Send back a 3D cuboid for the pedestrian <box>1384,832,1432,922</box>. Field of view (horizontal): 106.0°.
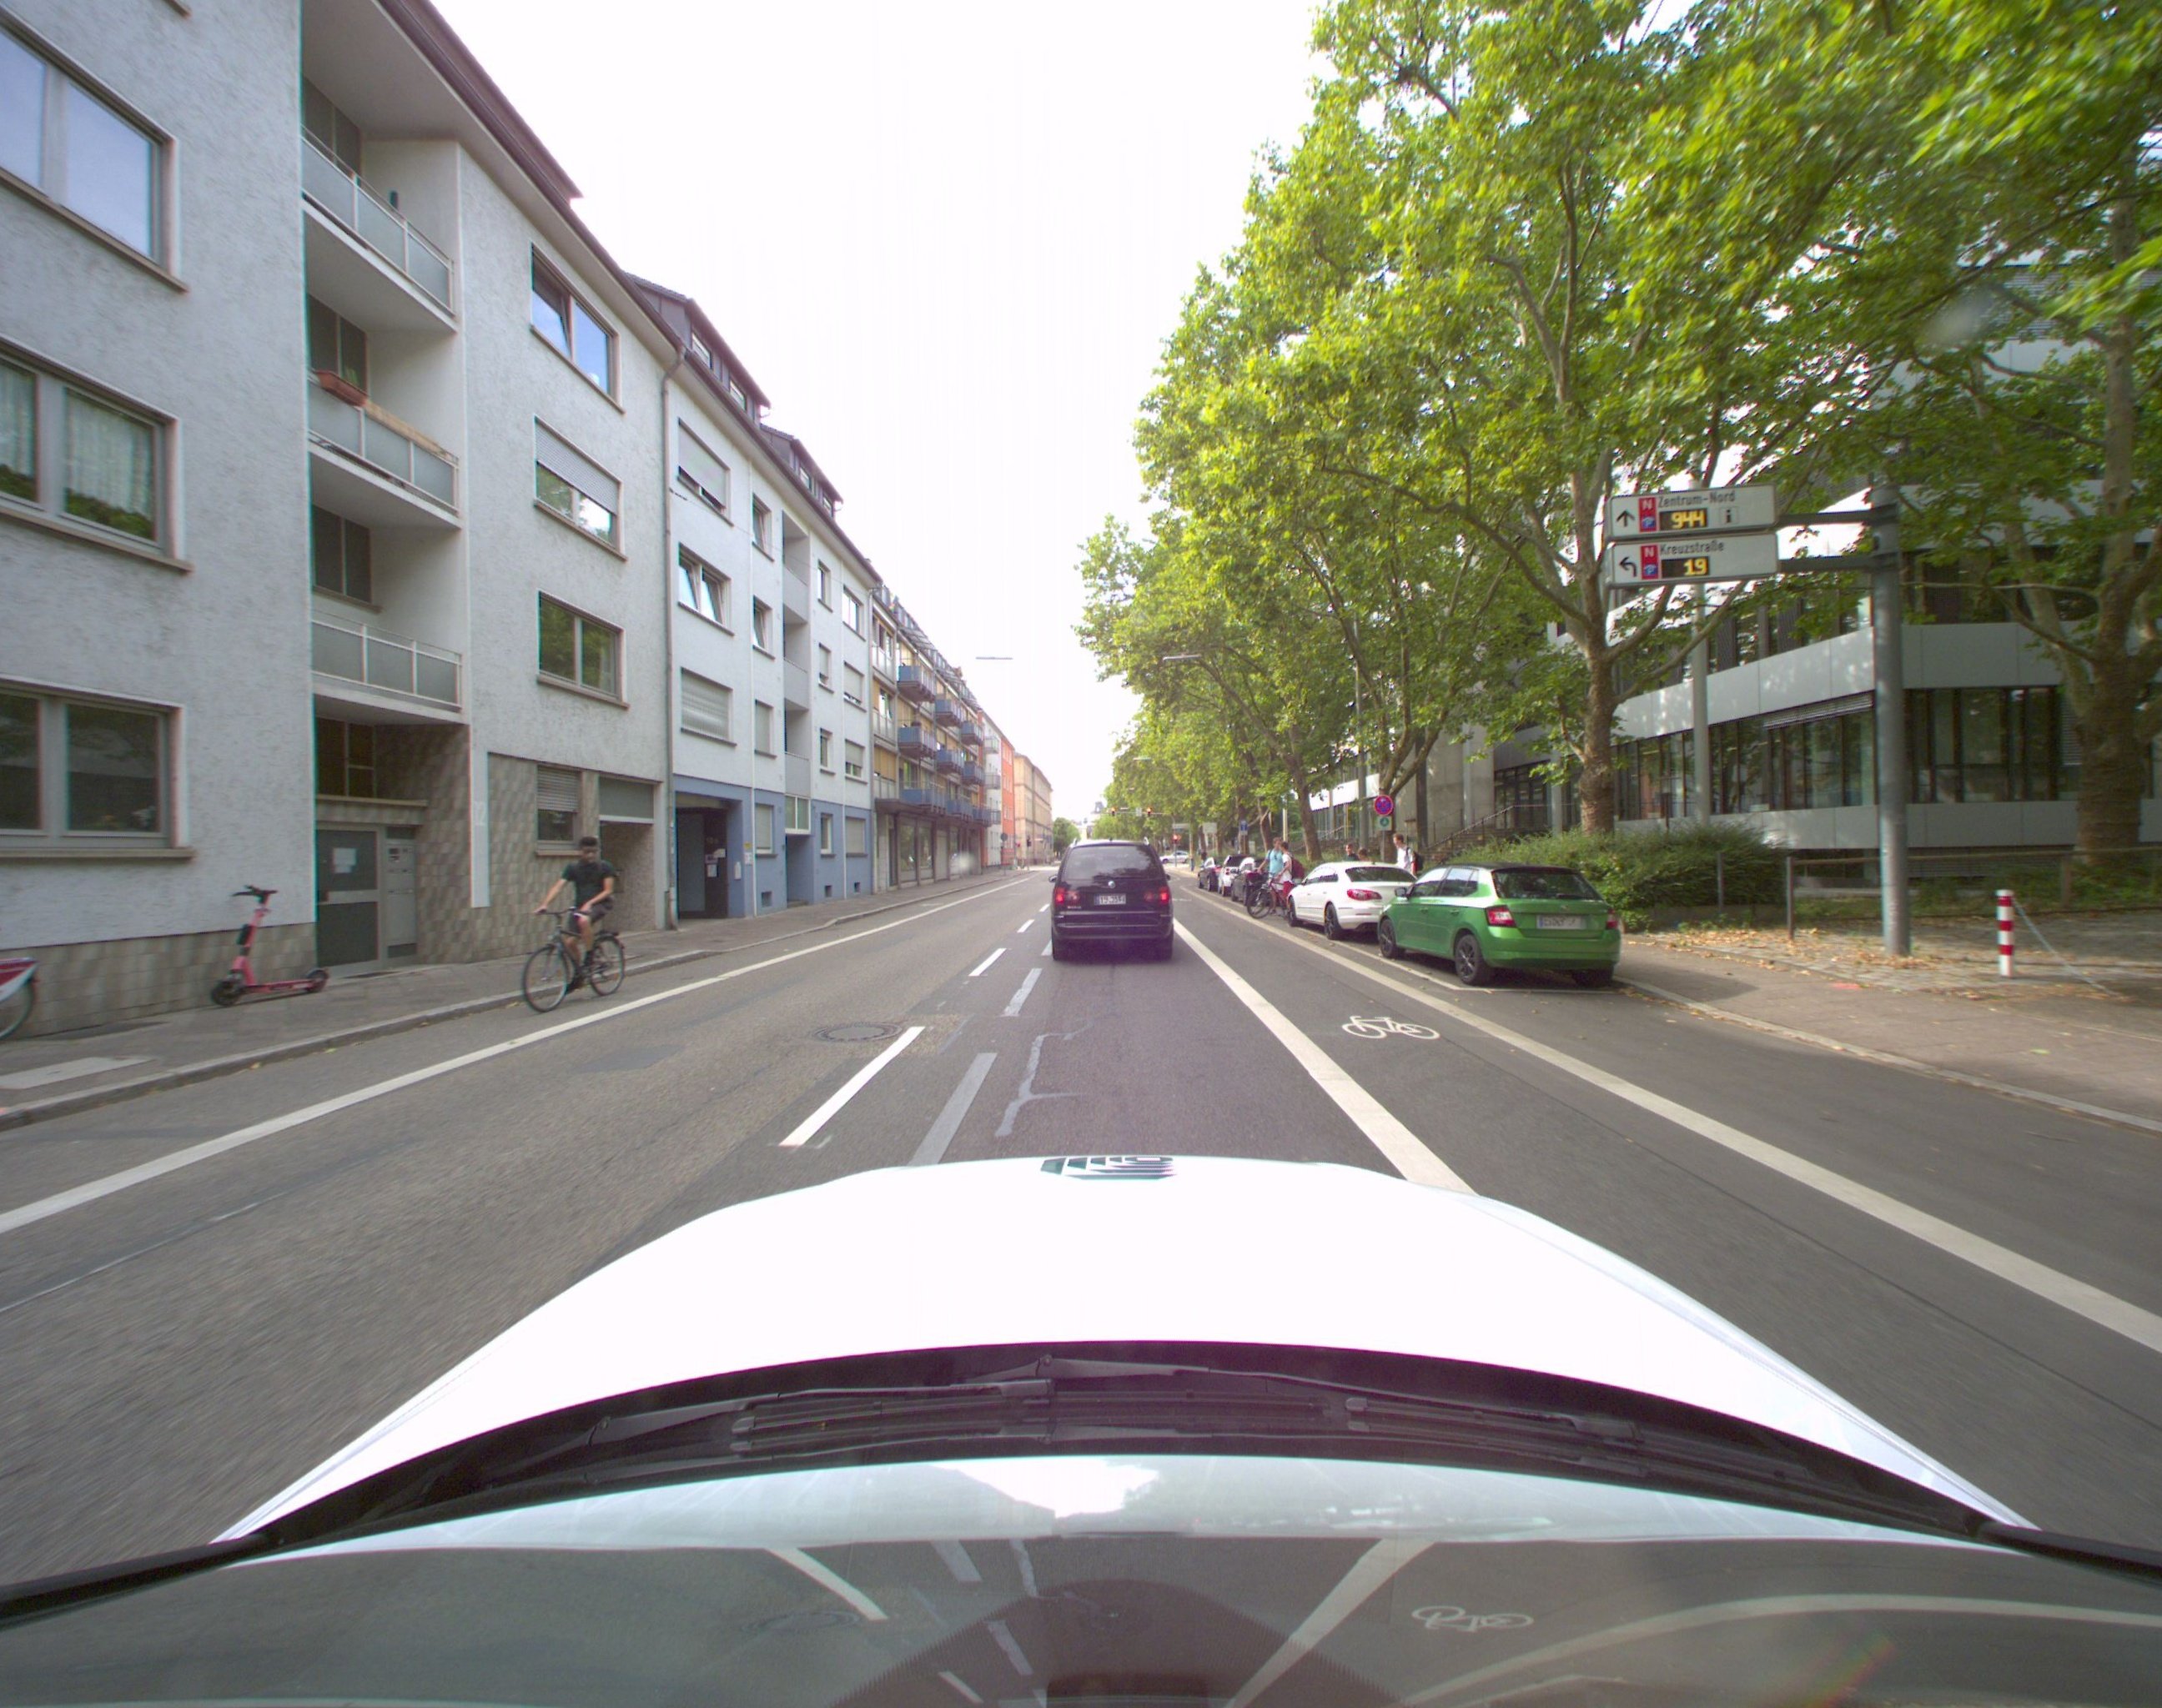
[{"bbox_3d":[7.393,0.501,18.429,0.790,1.997,0.750,0,0,1],"label":"pedestrian"}]

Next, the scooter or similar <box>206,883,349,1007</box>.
[{"bbox_3d":[-8.745,0.949,8.920,0.348,1.221,1.202,0,0,2],"label":"scooter or similar"}]

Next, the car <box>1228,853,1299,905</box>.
[{"bbox_3d":[5.653,0.731,25.548,1.522,1.502,3.662,0,0,2],"label":"car"}]

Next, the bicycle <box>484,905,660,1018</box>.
[{"bbox_3d":[-5.748,1.166,9.379,0.643,1.014,2.077,-2,0,2],"label":"bicycle"}]

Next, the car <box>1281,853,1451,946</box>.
[{"bbox_3d":[5.320,0.756,15.869,1.675,1.516,4.543,1,0,0],"label":"car"}]

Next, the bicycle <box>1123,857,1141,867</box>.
[{"bbox_3d":[5.714,0.895,90.913,1.922,1.028,0.582,0,0,-7],"label":"bicycle"}]

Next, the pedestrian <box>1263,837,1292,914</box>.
[{"bbox_3d":[4.991,0.532,20.685,0.474,1.934,0.742,0,0,-9],"label":"pedestrian"}]

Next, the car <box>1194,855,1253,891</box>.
[{"bbox_3d":[5.959,0.762,34.541,1.692,1.425,4.420,0,0,-1],"label":"car"}]

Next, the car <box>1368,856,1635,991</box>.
[{"bbox_3d":[5.321,0.777,10.898,1.582,1.449,3.804,1,0,0],"label":"car"}]

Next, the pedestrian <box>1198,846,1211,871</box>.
[{"bbox_3d":[9.134,0.350,60.258,0.712,1.800,1.033,-3,-1,0],"label":"pedestrian"}]

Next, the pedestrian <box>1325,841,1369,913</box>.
[{"bbox_3d":[6.797,0.579,20.829,0.867,1.816,0.780,0,0,1],"label":"pedestrian"}]

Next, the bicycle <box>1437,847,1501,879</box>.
[{"bbox_3d":[14.726,0.337,30.934,2.071,1.117,0.673,-2,0,1],"label":"bicycle"}]

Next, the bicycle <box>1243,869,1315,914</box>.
[{"bbox_3d":[5.078,0.948,20.952,1.734,1.105,0.550,0,0,-10],"label":"bicycle"}]

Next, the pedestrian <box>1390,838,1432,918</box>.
[{"bbox_3d":[7.741,0.551,19.120,0.718,1.855,0.704,0,0,1],"label":"pedestrian"}]

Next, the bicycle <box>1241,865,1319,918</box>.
[{"bbox_3d":[4.802,0.886,19.650,1.793,1.217,0.550,0,0,-16],"label":"bicycle"}]

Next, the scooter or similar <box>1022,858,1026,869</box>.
[{"bbox_3d":[-5.941,1.017,84.594,0.377,1.144,1.141,-1,-2,-2],"label":"scooter or similar"}]

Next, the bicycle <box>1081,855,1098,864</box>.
[{"bbox_3d":[0.959,0.694,95.490,1.924,1.028,0.581,0,0,-9],"label":"bicycle"}]

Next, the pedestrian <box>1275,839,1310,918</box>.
[{"bbox_3d":[5.043,0.568,19.409,0.520,1.845,0.741,0,0,-13],"label":"pedestrian"}]

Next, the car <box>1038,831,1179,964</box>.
[{"bbox_3d":[0.412,0.575,13.201,1.867,1.745,4.574,-1,0,1],"label":"car"}]

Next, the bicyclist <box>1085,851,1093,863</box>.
[{"bbox_3d":[0.933,0.337,95.479,0.914,1.466,0.568,0,0,-9],"label":"bicyclist"}]

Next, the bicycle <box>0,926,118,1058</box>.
[{"bbox_3d":[-8.646,1.105,6.211,0.595,0.950,1.663,0,0,2],"label":"bicycle"}]

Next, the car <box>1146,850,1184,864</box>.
[{"bbox_3d":[9.887,0.302,95.779,4.083,1.427,1.758,-3,0,-8],"label":"car"}]

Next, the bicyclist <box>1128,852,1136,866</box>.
[{"bbox_3d":[5.688,0.579,90.922,0.854,1.567,0.576,0,-1,-7],"label":"bicyclist"}]

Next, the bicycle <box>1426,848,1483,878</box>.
[{"bbox_3d":[14.795,0.346,32.270,1.908,1.117,0.673,-2,0,1],"label":"bicycle"}]

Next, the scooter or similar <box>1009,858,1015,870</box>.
[{"bbox_3d":[-6.582,0.946,77.972,0.376,1.184,1.390,-1,-2,2],"label":"scooter or similar"}]

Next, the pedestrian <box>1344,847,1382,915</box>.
[{"bbox_3d":[6.927,0.651,20.048,0.718,1.658,0.655,0,0,1],"label":"pedestrian"}]

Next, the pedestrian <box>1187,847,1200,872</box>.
[{"bbox_3d":[8.301,0.390,60.222,0.708,1.783,1.033,-3,-1,0],"label":"pedestrian"}]

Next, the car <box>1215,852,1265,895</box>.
[{"bbox_3d":[5.876,0.701,30.322,1.528,1.543,2.602,0,0,4],"label":"car"}]

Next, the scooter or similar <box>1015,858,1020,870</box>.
[{"bbox_3d":[-6.554,1.030,84.191,0.377,1.147,1.141,-1,-2,-2],"label":"scooter or similar"}]

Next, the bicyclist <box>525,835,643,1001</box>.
[{"bbox_3d":[-5.761,0.708,9.501,0.649,1.811,1.046,-2,-1,2],"label":"bicyclist"}]
